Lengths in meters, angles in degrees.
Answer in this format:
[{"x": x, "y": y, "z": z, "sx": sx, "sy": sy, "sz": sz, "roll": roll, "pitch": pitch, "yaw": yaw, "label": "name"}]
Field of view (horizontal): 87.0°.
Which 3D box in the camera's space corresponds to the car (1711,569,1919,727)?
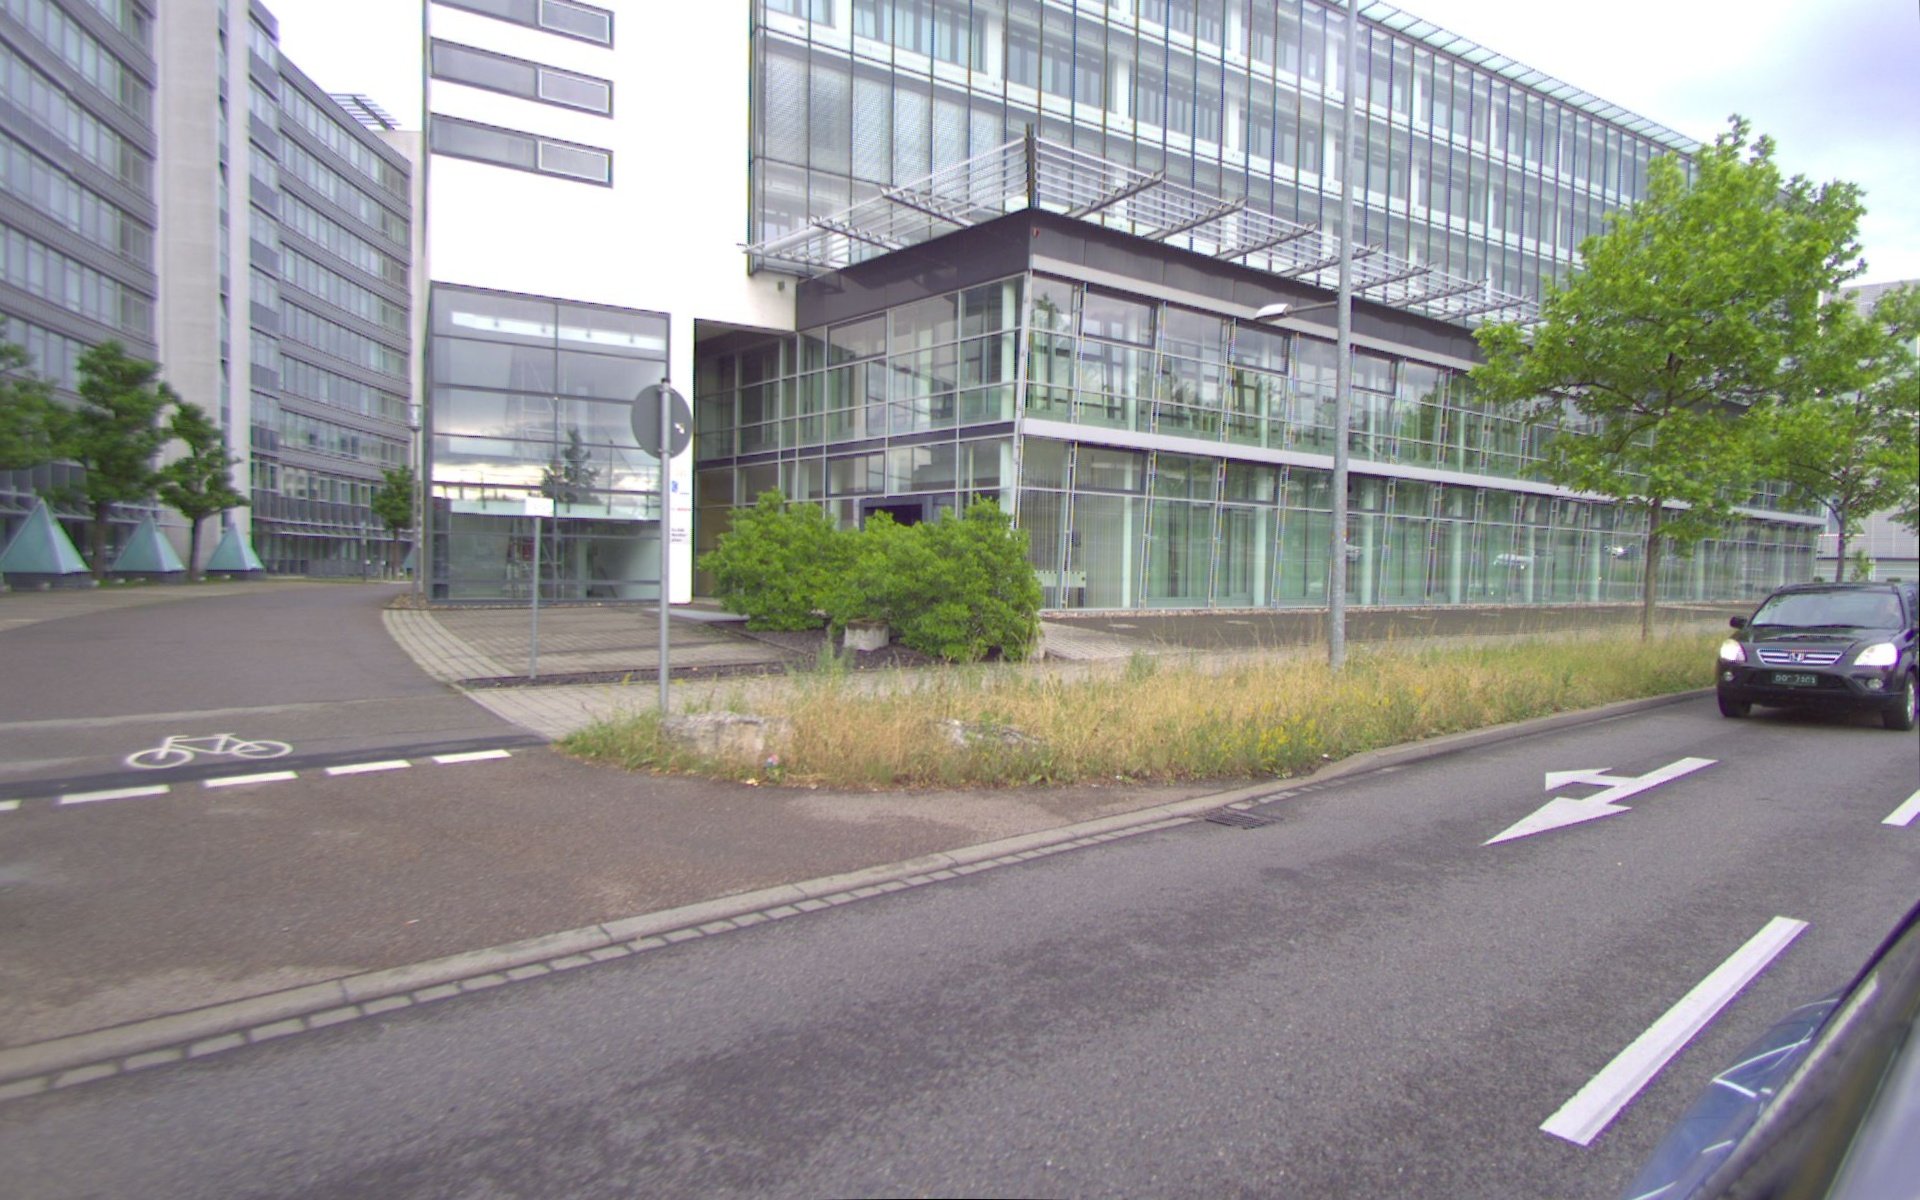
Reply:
[{"x": 11.121, "y": 0.474, "z": 12.579, "sx": 4.246, "sy": 1.650, "sz": 1.770, "roll": -1, "pitch": 0, "yaw": -38, "label": "car"}]
